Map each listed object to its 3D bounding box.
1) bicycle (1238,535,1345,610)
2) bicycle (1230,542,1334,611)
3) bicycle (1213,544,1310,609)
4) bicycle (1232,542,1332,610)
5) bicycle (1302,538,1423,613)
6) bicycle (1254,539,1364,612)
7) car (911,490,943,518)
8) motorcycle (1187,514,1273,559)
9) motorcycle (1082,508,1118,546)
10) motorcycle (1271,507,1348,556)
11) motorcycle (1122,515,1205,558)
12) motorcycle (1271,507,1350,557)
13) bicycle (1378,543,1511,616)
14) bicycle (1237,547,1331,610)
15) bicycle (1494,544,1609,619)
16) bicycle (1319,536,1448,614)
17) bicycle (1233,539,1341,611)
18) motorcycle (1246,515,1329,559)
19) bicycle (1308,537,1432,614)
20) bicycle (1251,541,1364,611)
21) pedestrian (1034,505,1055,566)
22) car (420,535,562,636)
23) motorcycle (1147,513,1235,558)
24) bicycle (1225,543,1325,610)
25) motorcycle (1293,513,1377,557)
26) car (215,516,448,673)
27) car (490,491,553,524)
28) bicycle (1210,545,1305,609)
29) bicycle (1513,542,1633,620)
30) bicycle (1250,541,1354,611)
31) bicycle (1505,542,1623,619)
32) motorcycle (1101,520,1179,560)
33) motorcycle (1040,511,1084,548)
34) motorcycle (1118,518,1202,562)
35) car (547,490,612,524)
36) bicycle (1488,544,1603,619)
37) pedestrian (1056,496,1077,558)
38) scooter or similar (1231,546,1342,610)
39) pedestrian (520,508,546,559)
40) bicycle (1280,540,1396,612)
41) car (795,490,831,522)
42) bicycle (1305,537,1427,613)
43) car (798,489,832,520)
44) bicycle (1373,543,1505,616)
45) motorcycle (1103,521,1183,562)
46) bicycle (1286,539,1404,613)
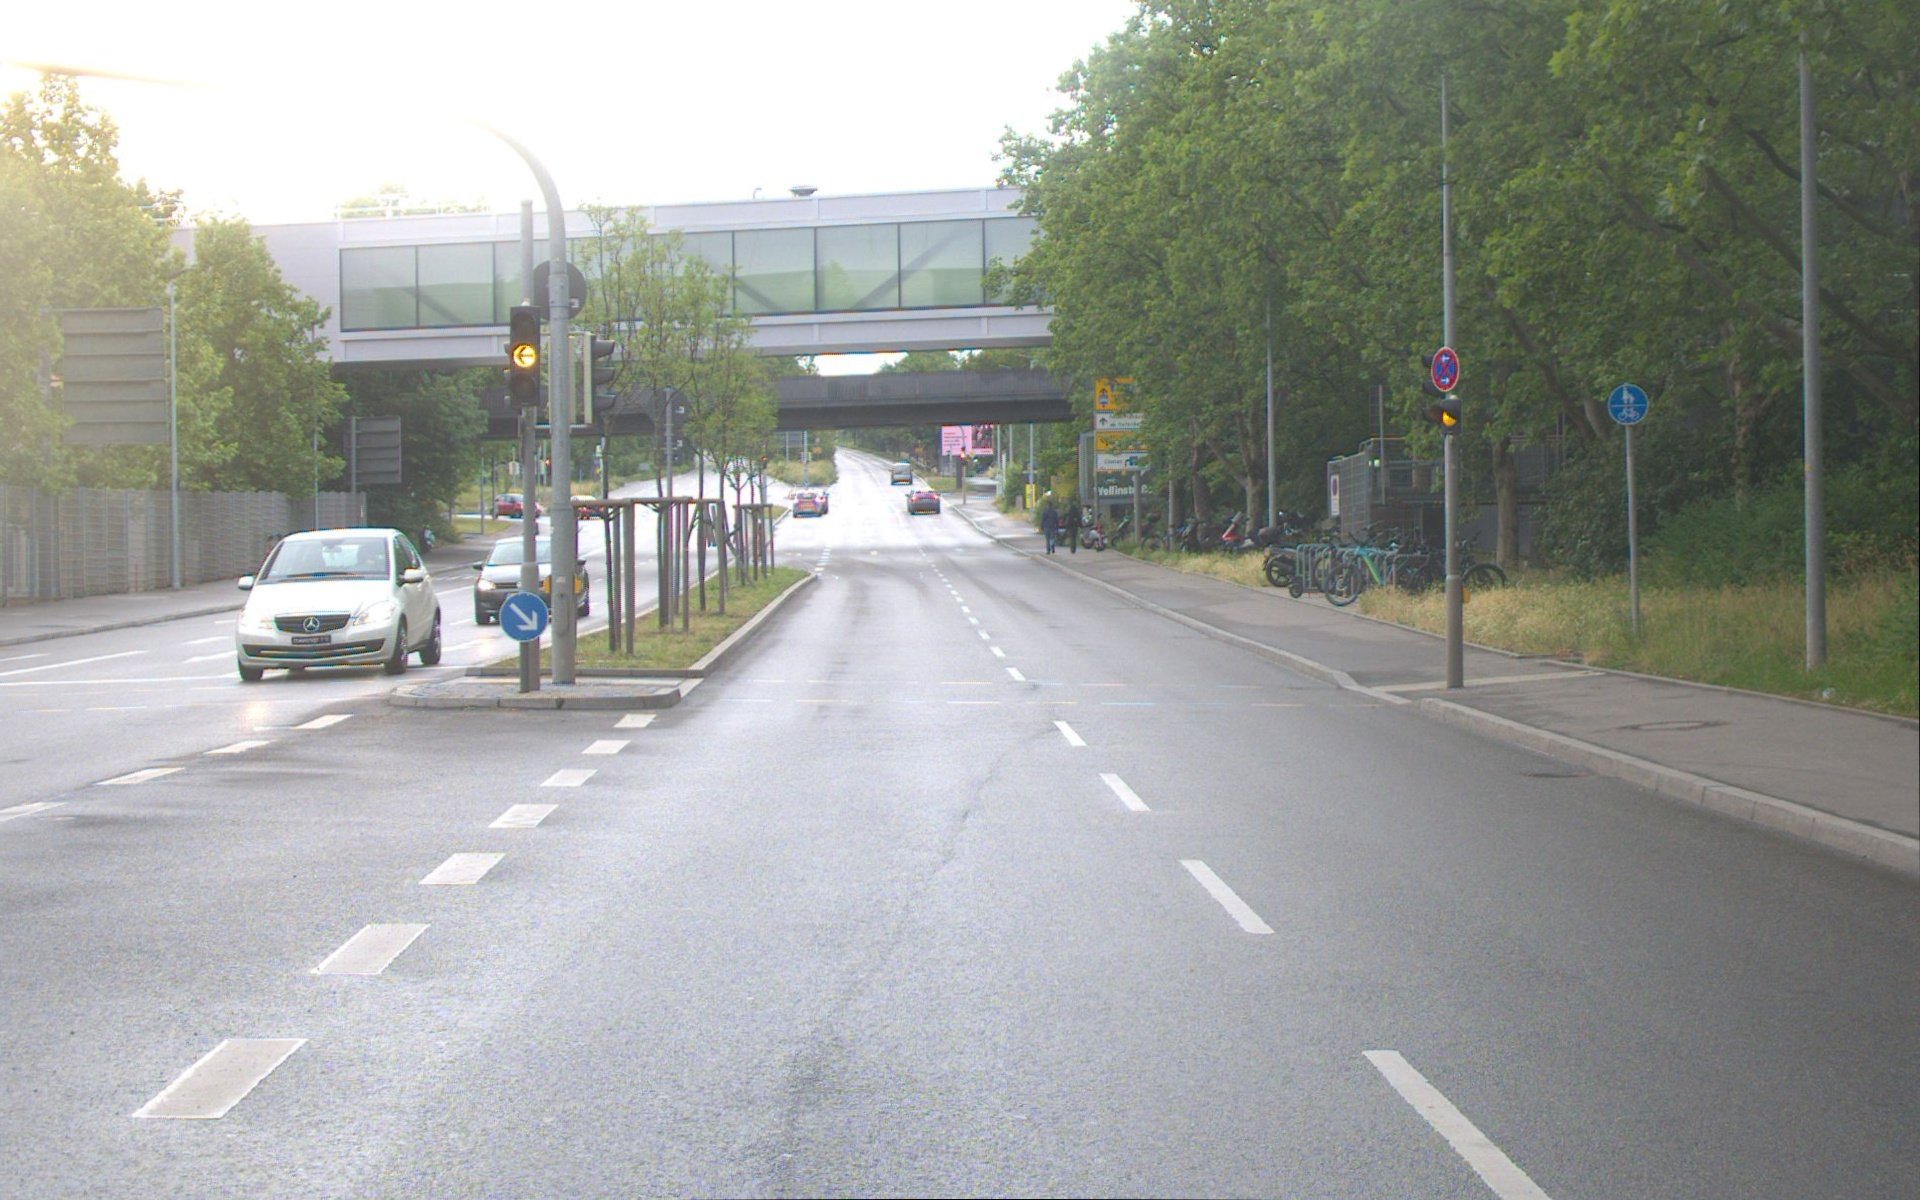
[{"bbox_3d":[6.514,-0.536,67.552,1.990,1.425,0.723,2,0,0],"label":"bicycle"},{"bbox_3d":[6.468,-0.476,69.118,1.990,1.324,0.576,2,0,0],"label":"bicycle"},{"bbox_3d":[6.362,-0.496,72.647,1.963,1.324,0.654,2,0,0],"label":"bicycle"},{"bbox_3d":[6.594,-0.487,70.356,1.960,1.324,0.576,2,0,0],"label":"bicycle"},{"bbox_3d":[6.927,-0.419,59.273,1.990,1.237,0.541,2,0,0],"label":"bicycle"},{"bbox_3d":[6.594,-0.468,65.067,1.990,1.324,0.576,2,0,0],"label":"bicycle"},{"bbox_3d":[-1.942,-5.645,202.979,1.875,1.492,4.068,2,0,0],"label":"car"},{"bbox_3d":[7.608,-1.794,96.788,2.369,1.198,0.722,-1,1,7],"label":"motorcycle"},{"bbox_3d":[4.952,-2.583,122.043,0.790,1.307,2.377,-2,1,-9],"label":"motorcycle"},{"bbox_3d":[11.005,-2.155,108.261,2.369,1.471,0.722,-1,1,7],"label":"motorcycle"},{"bbox_3d":[6.018,-1.883,101.527,2.369,1.198,0.722,-1,1,7],"label":"motorcycle"},{"bbox_3d":[10.913,-2.112,107.027,2.369,1.471,0.722,-1,1,7],"label":"motorcycle"},{"bbox_3d":[7.582,-0.320,53.852,1.990,1.091,0.541,2,0,0],"label":"bicycle"},{"bbox_3d":[7.147,-0.478,75.869,1.963,1.324,0.654,2,0,0],"label":"bicycle"},{"bbox_3d":[10.879,-0.344,63.250,1.990,1.324,0.576,2,0,0],"label":"bicycle"},{"bbox_3d":[6.878,-0.403,55.879,1.990,1.212,0.541,2,0,0],"label":"bicycle"},{"bbox_3d":[6.261,-0.478,65.876,1.990,1.324,0.576,2,0,0],"label":"bicycle"},{"bbox_3d":[9.545,-1.835,100.213,2.369,1.198,0.722,-1,1,7],"label":"motorcycle"},{"bbox_3d":[6.919,-0.413,58.068,1.990,1.229,0.541,2,0,0],"label":"bicycle"},{"bbox_3d":[6.375,-0.440,63.161,1.990,1.237,0.541,2,0,0],"label":"bicycle"},{"bbox_3d":[2.783,-2.127,113.105,0.622,2.007,0.605,-2,1,0],"label":"pedestrian"},{"bbox_3d":[-7.858,-0.274,57.924,1.877,1.619,3.779,-1,1,0],"label":"car"},{"bbox_3d":[6.398,-1.784,95.168,2.369,1.198,0.722,-1,1,7],"label":"motorcycle"},{"bbox_3d":[6.500,-0.490,71.045,1.963,1.324,0.654,2,0,0],"label":"bicycle"},{"bbox_3d":[10.787,-1.867,98.922,2.369,1.198,0.722,-1,1,7],"label":"motorcycle"},{"bbox_3d":[-6.881,-0.094,38.014,1.877,1.619,3.779,-1,1,0],"label":"car"},{"bbox_3d":[-28.126,-5.942,220.498,1.994,2.007,3.998,2,0,-44],"label":"car"},{"bbox_3d":[6.424,-0.497,74.366,1.963,1.324,0.654,2,0,0],"label":"bicycle"},{"bbox_3d":[10.907,-0.340,61.173,1.990,1.324,0.576,2,0,0],"label":"bicycle"},{"bbox_3d":[6.804,-0.478,68.407,1.990,1.324,0.576,2,0,0],"label":"bicycle"},{"bbox_3d":[10.879,-0.342,61.937,1.990,1.324,0.576,2,0,0],"label":"bicycle"},{"bbox_3d":[5.647,-1.878,108.033,2.369,1.198,0.792,-1,1,7],"label":"motorcycle"},{"bbox_3d":[3.701,-2.582,125.372,0.790,1.307,2.377,-2,1,-19],"label":"motorcycle"},{"bbox_3d":[5.805,-1.739,99.756,2.369,1.198,0.722,-1,1,7],"label":"motorcycle"},{"bbox_3d":[-23.799,-5.810,214.979,1.994,2.007,3.998,2,0,-44],"label":"car"},{"bbox_3d":[10.882,-0.345,63.919,1.990,1.324,0.576,2,0,0],"label":"bicycle"},{"bbox_3d":[3.490,-2.408,112.848,0.622,2.007,0.605,-2,1,0],"label":"pedestrian"},{"bbox_3d":[6.069,-0.413,63.953,1.990,1.134,0.541,2,0,0],"label":"scooter or similar"},{"bbox_3d":[-16.992,-2.645,136.755,0.872,1.997,0.855,-2,1,1],"label":"pedestrian"},{"bbox_3d":[6.790,-0.426,61.787,1.990,1.237,0.541,2,0,0],"label":"bicycle"},{"bbox_3d":[-8.838,-5.618,206.584,1.993,1.756,4.000,2,0,0],"label":"car"},{"bbox_3d":[6.926,-0.418,58.692,1.990,1.237,0.541,2,0,0],"label":"bicycle"},{"bbox_3d":[-8.898,-5.830,211.143,1.884,1.756,3.969,2,0,0],"label":"car"},{"bbox_3d":[7.577,-0.321,54.420,1.990,1.091,0.541,2,0,0],"label":"bicycle"},{"bbox_3d":[5.649,-1.809,106.150,2.369,1.198,0.722,-1,1,7],"label":"motorcycle"},{"bbox_3d":[6.805,-0.425,60.838,1.990,1.237,0.541,2,0,0],"label":"bicycle"}]
